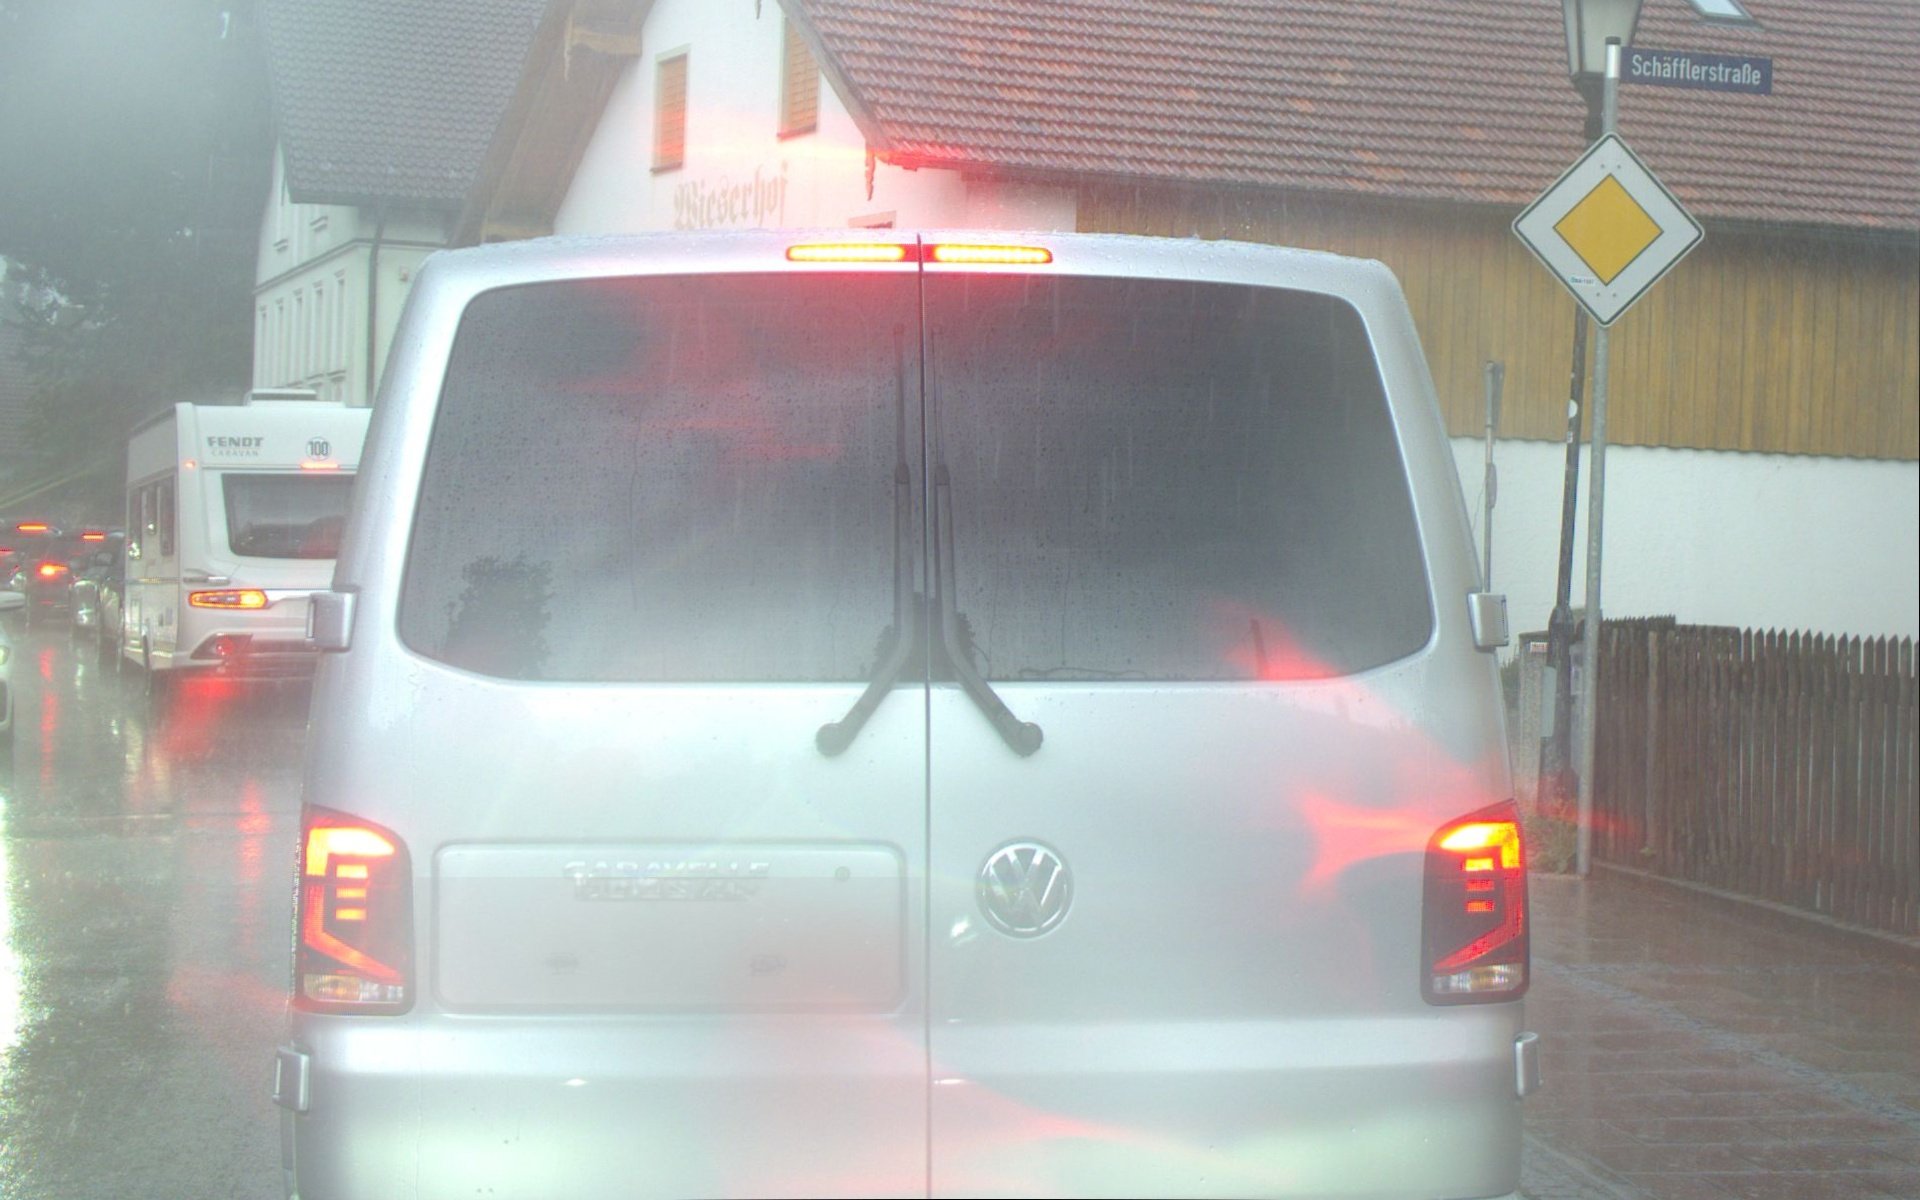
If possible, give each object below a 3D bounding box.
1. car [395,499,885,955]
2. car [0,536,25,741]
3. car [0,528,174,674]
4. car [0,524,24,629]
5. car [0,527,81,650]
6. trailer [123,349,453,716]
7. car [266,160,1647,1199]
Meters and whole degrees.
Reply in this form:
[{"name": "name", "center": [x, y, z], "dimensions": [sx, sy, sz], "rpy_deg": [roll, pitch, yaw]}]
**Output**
[{"name": "car", "center": [-1.472, 0.376, 14.497], "dimensions": [1.708, 1.578, 4.687], "rpy_deg": [-1, 2, -9]}, {"name": "car", "center": [-7.949, 0.207, 24.902], "dimensions": [1.861, 1.354, 4.485], "rpy_deg": [-1, 2, -20]}, {"name": "car", "center": [-12.979, -0.030, 50.403], "dimensions": [2.168, 1.892, 5.016], "rpy_deg": [2, 1, -20]}, {"name": "car", "center": [-19.442, -0.525, 66.436], "dimensions": [2.168, 1.892, 5.016], "rpy_deg": [2, 1, -20]}, {"name": "car", "center": [-16.336, -0.260, 58.422], "dimensions": [2.168, 1.892, 5.016], "rpy_deg": [2, 1, -20]}, {"name": "trailer", "center": [-6.059, -0.576, 30.341], "dimensions": [2.270, 2.894, 6.134], "rpy_deg": [1, 1, -16]}, {"name": "car", "center": [-0.163, 0.389, 6.971], "dimensions": [1.776, 1.956, 5.075], "rpy_deg": [0, 1, -4]}]
